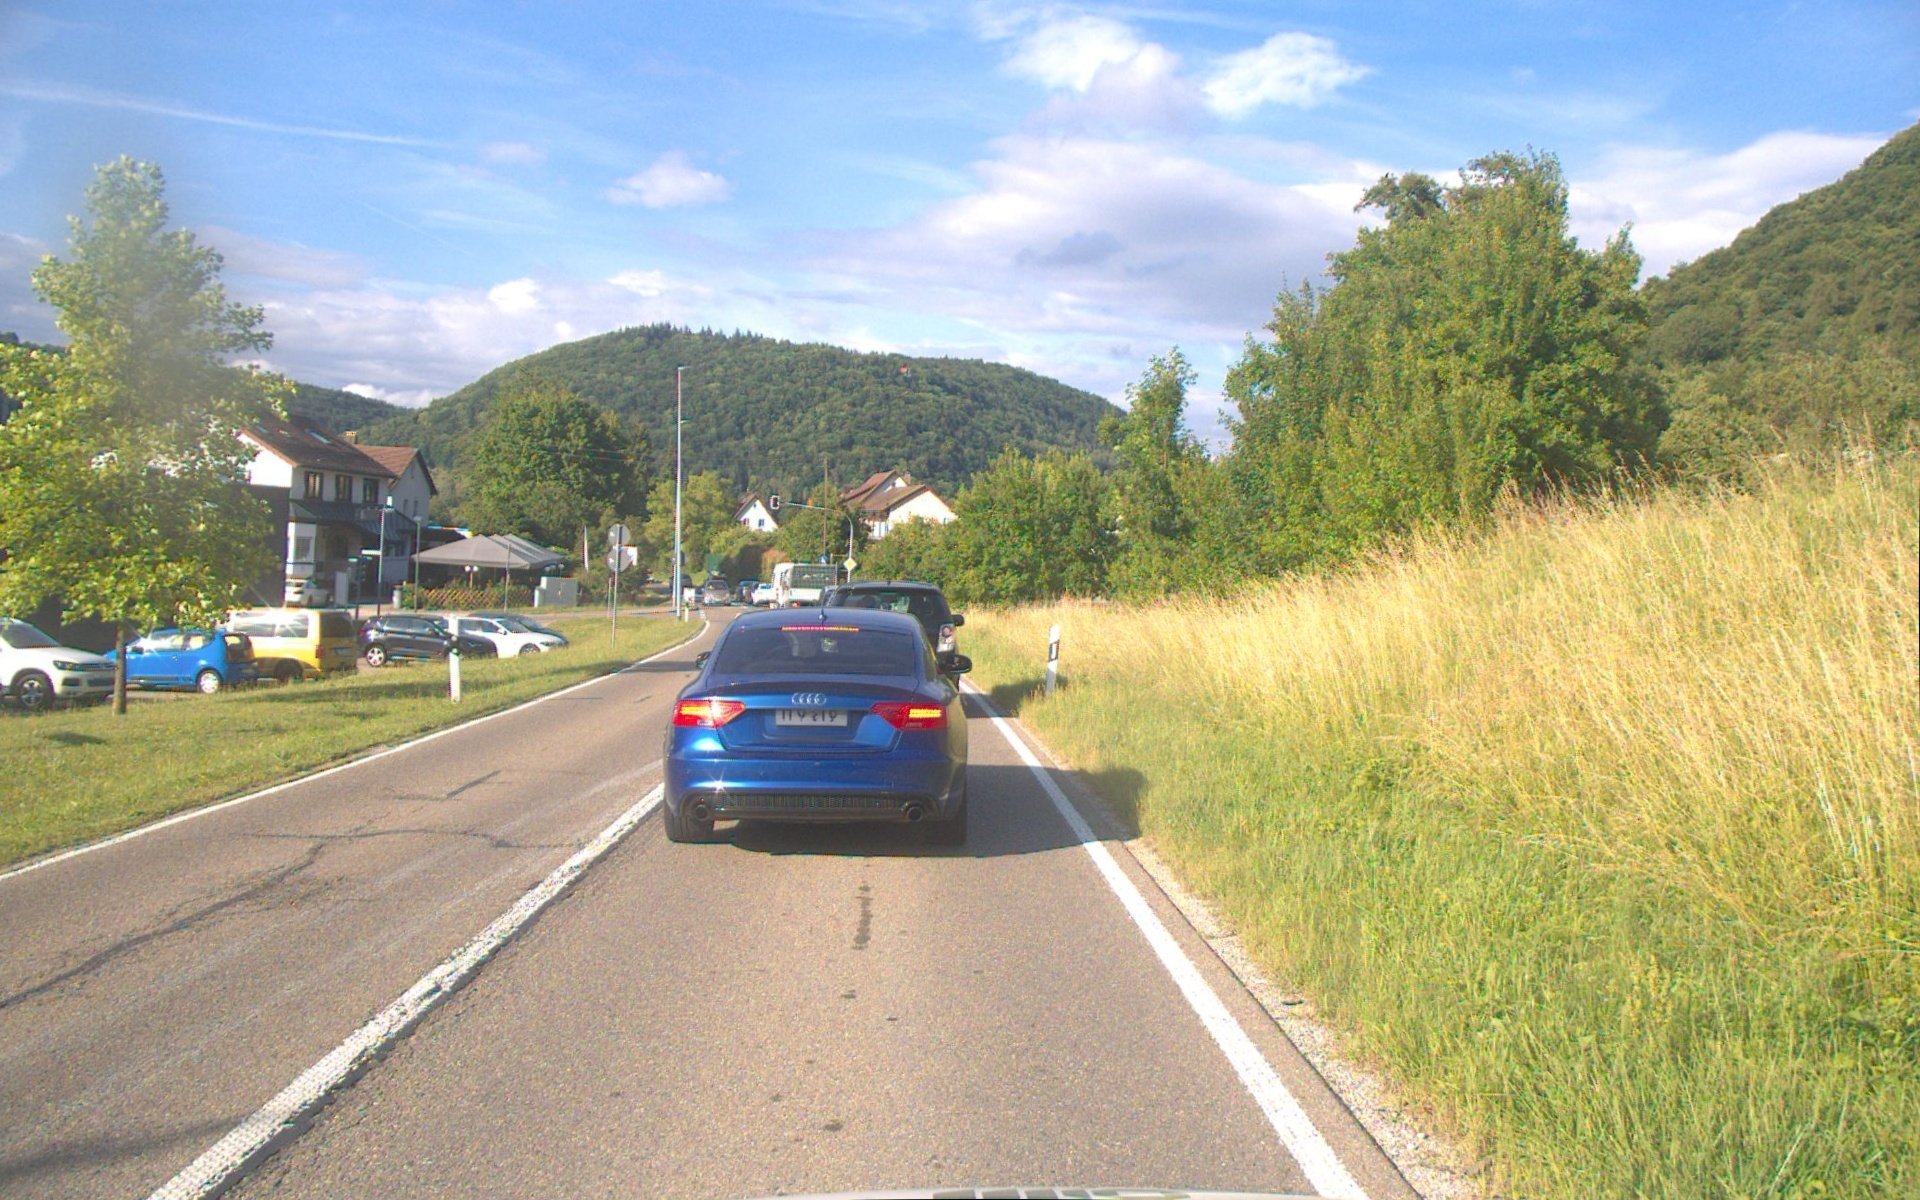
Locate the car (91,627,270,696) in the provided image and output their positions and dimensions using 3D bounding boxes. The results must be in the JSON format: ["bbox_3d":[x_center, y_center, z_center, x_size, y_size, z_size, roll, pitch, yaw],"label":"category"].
[{"bbox_3d":[-18.336,1.420,38.975,3.420,1.498,1.634,1,0,5],"label":"car"}]

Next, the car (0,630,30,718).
[{"bbox_3d":[-19.601,1.310,29.957,4.442,1.582,2.001,1,0,7],"label":"car"}]

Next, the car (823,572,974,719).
[{"bbox_3d":[-0.719,0.532,21.121,1.710,1.668,3.999,1,0,0],"label":"car"}]

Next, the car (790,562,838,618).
[{"bbox_3d":[-6.162,-0.388,69.389,1.714,2.234,3.992,1,0,-9],"label":"car"}]

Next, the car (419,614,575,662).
[{"bbox_3d":[-15.689,1.267,56.154,4.711,1.520,1.882,1,0,7],"label":"car"}]

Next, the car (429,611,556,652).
[{"bbox_3d":[-16.524,1.110,58.556,3.903,1.333,1.761,1,0,3],"label":"car"}]

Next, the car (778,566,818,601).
[{"bbox_3d":[-7.945,-0.787,81.063,1.714,1.668,3.992,1,0,-9],"label":"car"}]

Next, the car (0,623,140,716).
[{"bbox_3d":[-19.246,1.358,33.341,4.442,1.733,2.001,1,0,7],"label":"car"}]

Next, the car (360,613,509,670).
[{"bbox_3d":[-16.359,1.279,51.602,3.939,1.666,2.001,1,0,7],"label":"car"}]

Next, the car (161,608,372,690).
[{"bbox_3d":[-17.409,1.202,41.608,4.512,1.900,2.002,1,0,11],"label":"car"}]

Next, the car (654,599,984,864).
[{"bbox_3d":[-0.764,0.714,10.853,1.758,1.412,3.999,0,0,0],"label":"car"}]

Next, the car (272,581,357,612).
[{"bbox_3d":[-32.034,-0.171,82.154,1.727,1.467,4.001,1,0,19],"label":"car"}]

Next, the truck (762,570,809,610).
[{"bbox_3d":[-9.106,-0.510,85.957,1.669,1.988,5.901,1,0,-14],"label":"truck"}]

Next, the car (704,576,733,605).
[{"bbox_3d":[-14.860,-0.578,101.630,1.702,1.691,3.464,1,0,-9],"label":"car"}]
